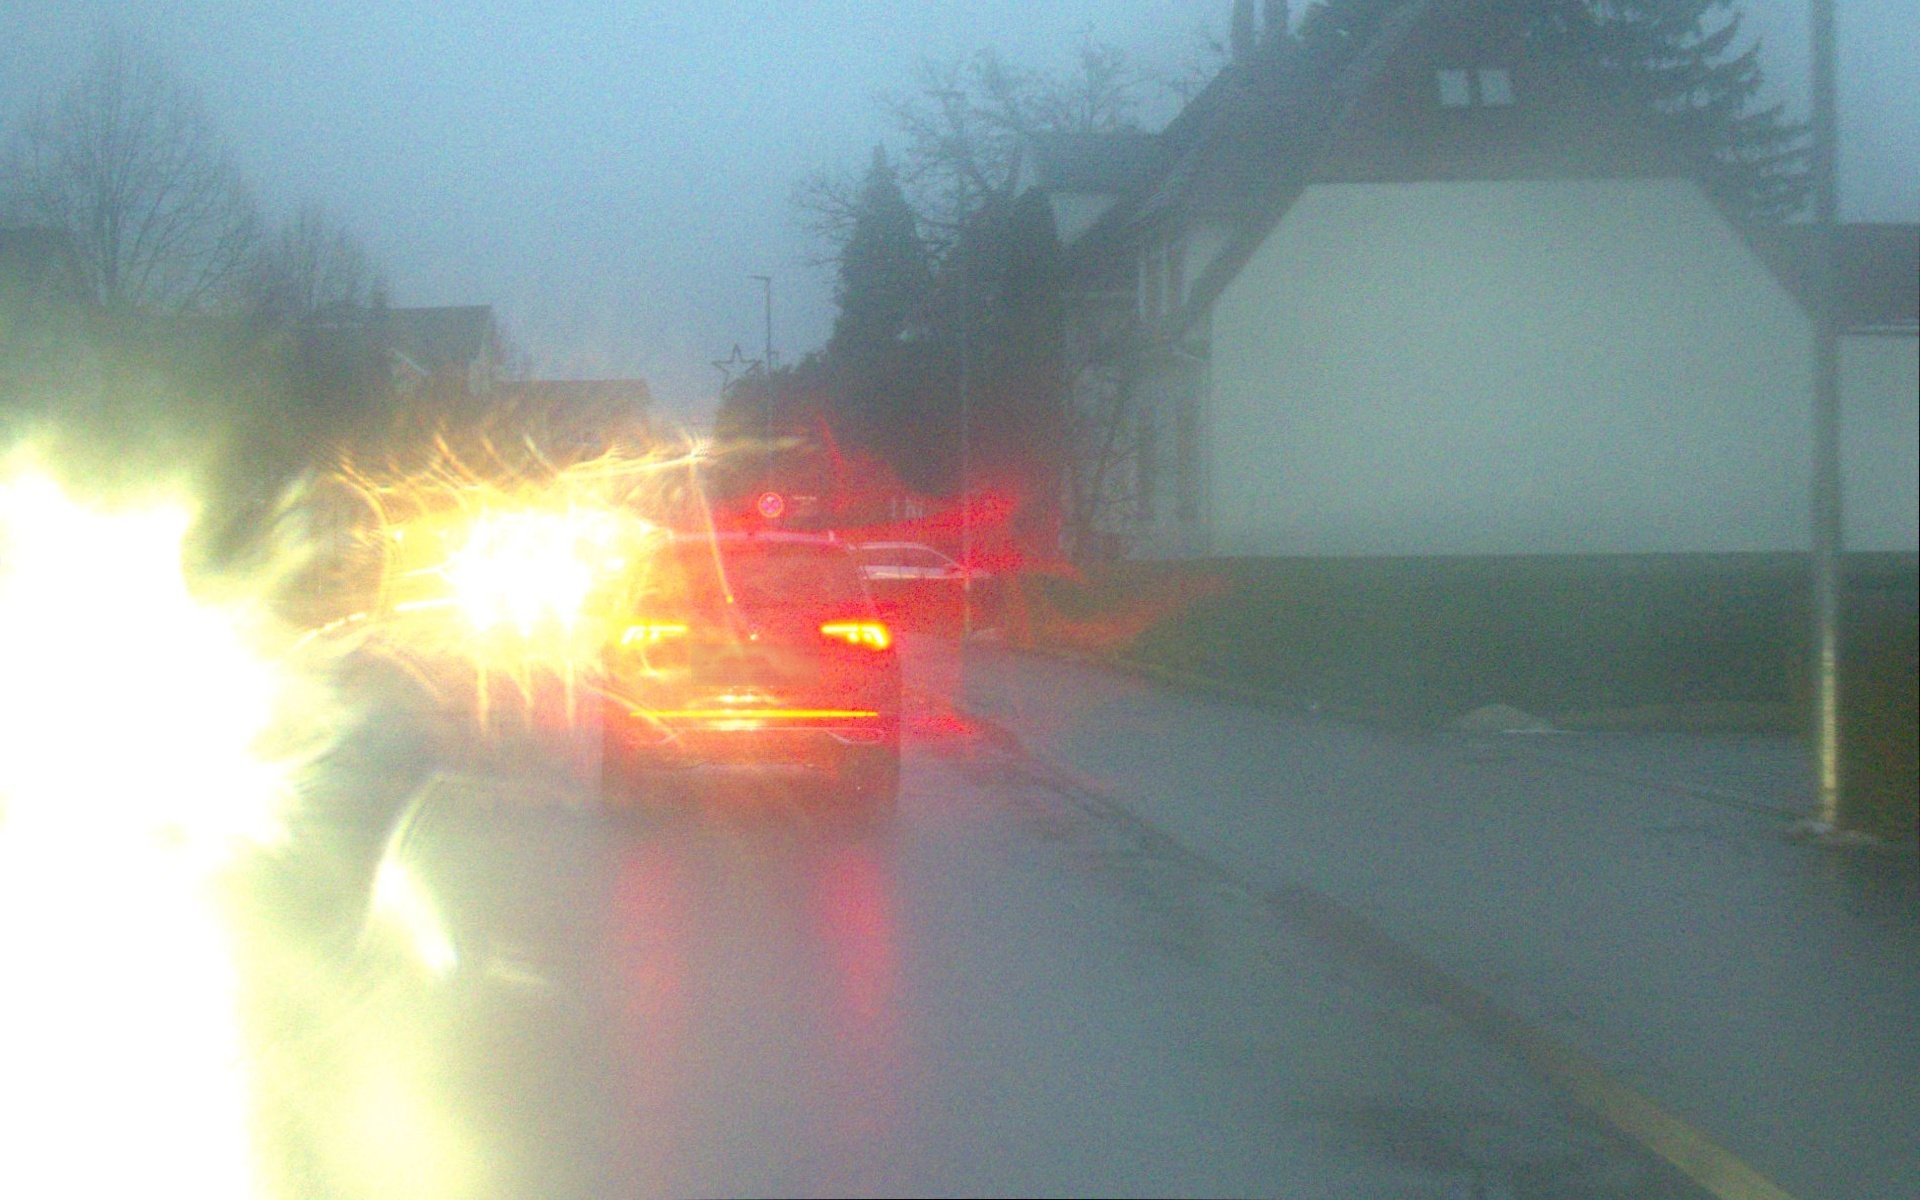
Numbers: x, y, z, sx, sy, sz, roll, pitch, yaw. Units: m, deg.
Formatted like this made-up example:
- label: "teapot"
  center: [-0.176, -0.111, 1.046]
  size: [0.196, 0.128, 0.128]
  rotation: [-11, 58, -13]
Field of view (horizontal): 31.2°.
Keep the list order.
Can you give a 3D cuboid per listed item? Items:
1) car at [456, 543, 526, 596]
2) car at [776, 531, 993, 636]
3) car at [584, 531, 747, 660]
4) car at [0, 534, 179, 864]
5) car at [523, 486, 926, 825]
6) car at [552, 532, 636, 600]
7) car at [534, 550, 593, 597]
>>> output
- label: "car"
  center: [-14.624, -0.981, 107.426]
  size: [1.913, 1.517, 4.001]
  rotation: [0, 2, -4]
- label: "car"
  center: [-1.510, -0.333, 68.627]
  size: [4.246, 2.007, 1.811]
  rotation: [-1, 1, -2]
- label: "car"
  center: [-4.041, -0.095, 46.678]
  size: [1.857, 1.641, 4.001]
  rotation: [0, 1, -10]
- label: "car"
  center: [-5.182, 0.465, 18.198]
  size: [1.823, 1.548, 4.001]
  rotation: [-2, 1, -10]
- label: "car"
  center: [-1.604, 0.306, 22.376]
  size: [2.309, 1.932, 5.019]
  rotation: [-1, 0, -6]
- label: "car"
  center: [-10.748, -0.981, 100.724]
  size: [2.309, 1.932, 5.019]
  rotation: [-1, 0, -7]
- label: "car"
  center: [-13.945, -0.945, 121.132]
  size: [1.913, 1.426, 4.001]
  rotation: [0, 3, -4]
